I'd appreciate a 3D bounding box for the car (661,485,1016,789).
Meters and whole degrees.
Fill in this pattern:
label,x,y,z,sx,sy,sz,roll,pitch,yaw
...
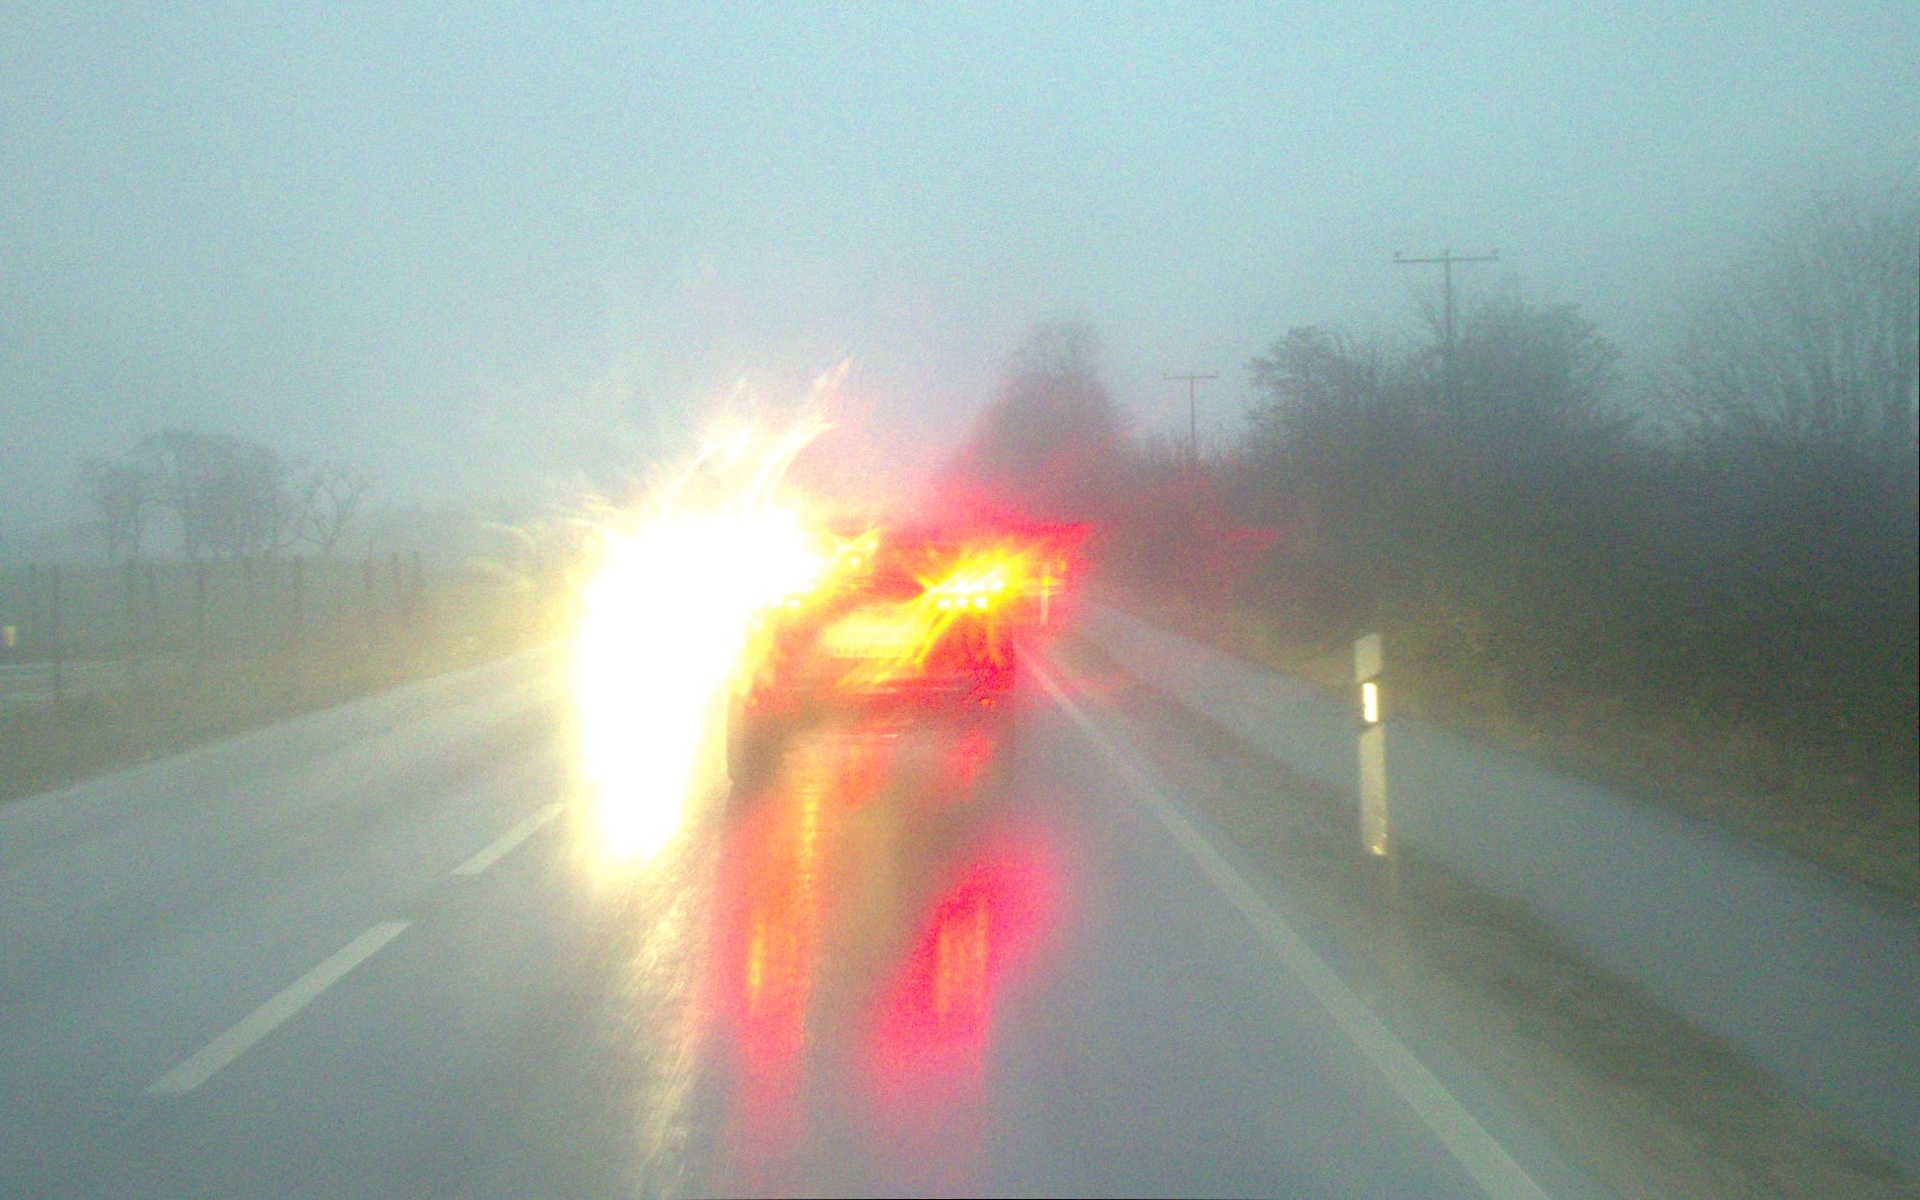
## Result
label,x,y,z,sx,sy,sz,roll,pitch,yaw
car,-0.744,0.167,23.038,2.120,1.813,4.980,0,1,0

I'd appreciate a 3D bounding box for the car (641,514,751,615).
label,x,y,z,sx,sy,sz,roll,pitch,yaw
car,-5.016,-0.713,65.773,1.824,1.800,4.495,-2,1,-2

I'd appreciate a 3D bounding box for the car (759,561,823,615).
label,x,y,z,sx,sy,sz,roll,pitch,yaw
car,-4.971,-0.360,101.436,1.688,1.474,3.774,-1,1,0
